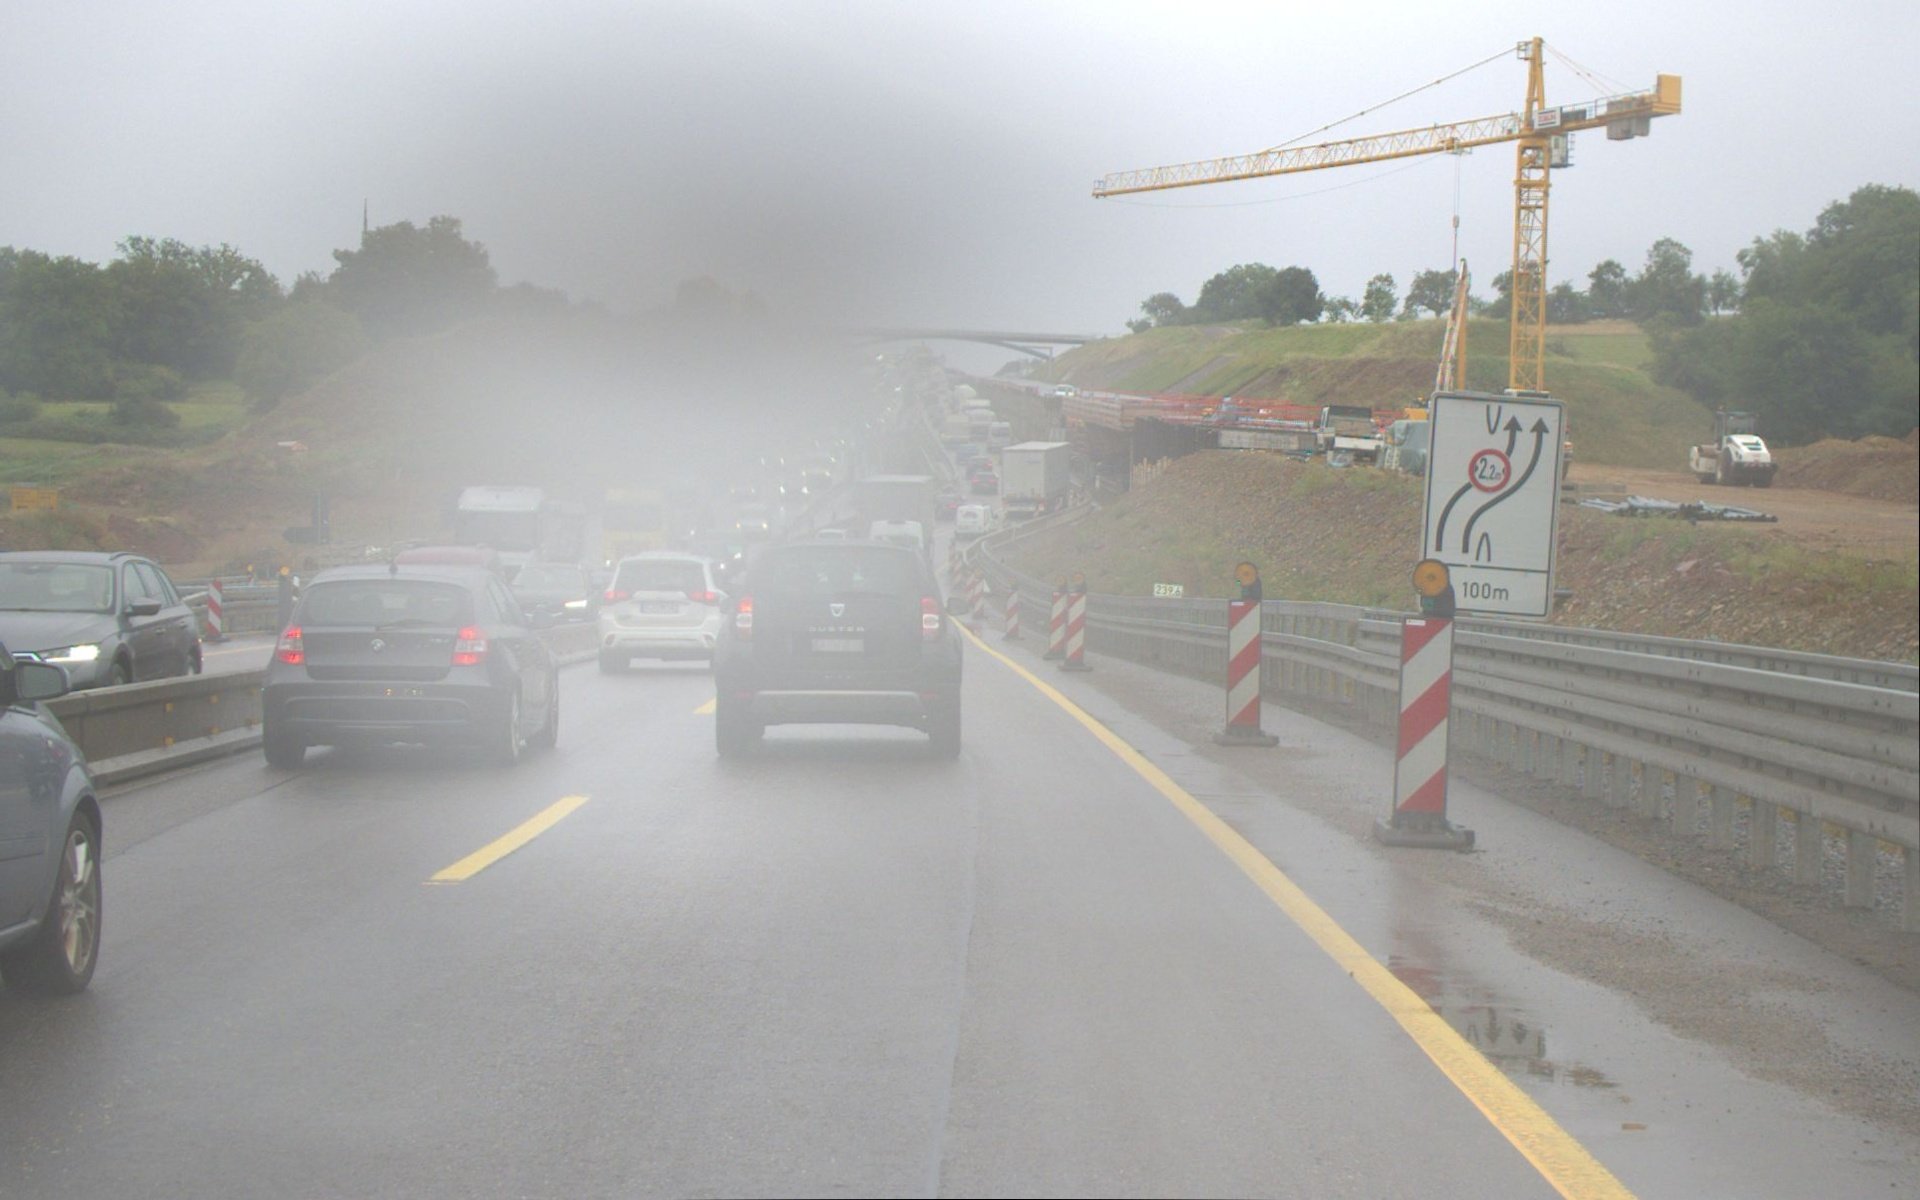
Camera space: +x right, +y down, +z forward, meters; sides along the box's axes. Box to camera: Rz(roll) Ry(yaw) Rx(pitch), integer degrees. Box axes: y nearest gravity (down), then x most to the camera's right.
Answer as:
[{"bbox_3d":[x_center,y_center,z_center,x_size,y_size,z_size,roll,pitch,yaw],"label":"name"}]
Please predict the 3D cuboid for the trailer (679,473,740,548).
[{"bbox_3d":[-12.900,-4.568,177.601,2.620,3.665,12.005,1,1,-2],"label":"trailer"}]

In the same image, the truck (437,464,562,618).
[{"bbox_3d":[-12.079,-1.530,90.532,2.686,3.913,5.274,0,1,-1],"label":"truck"}]

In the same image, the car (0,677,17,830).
[{"bbox_3d":[-10.457,1.589,33.005,1.820,1.491,4.001,0,2,-2],"label":"car"}]

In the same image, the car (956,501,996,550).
[{"bbox_3d":[0.830,-3.887,180.896,1.993,2.476,4.741,1,1,0],"label":"car"}]

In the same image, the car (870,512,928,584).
[{"bbox_3d":[-2.175,-1.857,123.370,1.993,2.476,4.982,1,1,-1],"label":"car"}]

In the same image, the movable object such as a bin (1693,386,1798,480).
[{"bbox_3d":[32.364,-6.856,141.807,2.340,3.587,6.562,1,1,-4],"label":"movable object such as a bin"}]

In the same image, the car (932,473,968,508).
[{"bbox_3d":[-0.590,-6.359,199.770,1.993,2.006,4.001,0,2,-1],"label":"car"}]

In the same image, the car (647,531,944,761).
[{"bbox_3d":[-1.187,0.304,26.398,2.081,1.595,4.141,1,1,-1],"label":"car"}]

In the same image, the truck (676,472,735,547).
[{"bbox_3d":[-12.690,-4.487,171.763,2.620,3.665,6.596,1,1,-2],"label":"truck"}]

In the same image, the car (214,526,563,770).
[{"bbox_3d":[-4.022,0.297,24.837,1.993,1.595,4.141,1,1,-3],"label":"car"}]

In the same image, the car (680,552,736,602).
[{"bbox_3d":[-9.362,-0.850,128.070,1.787,1.799,5.190,-1,0,-1],"label":"car"}]

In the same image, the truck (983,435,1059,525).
[{"bbox_3d":[3.549,-7.064,205.093,3.803,5.025,12.923,1,1,-2],"label":"truck"}]

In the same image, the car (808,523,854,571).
[{"bbox_3d":[-5.929,-2.443,158.883,1.993,2.155,4.141,1,1,-1],"label":"car"}]

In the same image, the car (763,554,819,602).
[{"bbox_3d":[-6.439,-0.860,131.261,1.993,1.753,4.688,1,1,-1],"label":"car"}]

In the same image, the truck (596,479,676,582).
[{"bbox_3d":[-13.085,-2.792,139.157,2.749,4.048,6.148,1,1,-1],"label":"truck"}]

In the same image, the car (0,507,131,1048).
[{"bbox_3d":[-3.810,0.515,9.639,1.993,1.595,4.141,1,1,-1],"label":"car"}]

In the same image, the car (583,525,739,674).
[{"bbox_3d":[-4.215,-0.028,49.047,1.993,2.007,3.894,1,1,-2],"label":"car"}]

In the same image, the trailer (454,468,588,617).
[{"bbox_3d":[-12.211,-1.580,96.344,2.686,3.950,9.820,0,1,-1],"label":"trailer"}]

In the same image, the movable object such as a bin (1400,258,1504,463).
[{"bbox_3d":[27.495,-13.210,191.770,4.721,10.805,10.297,1,0,13],"label":"movable object such as a bin"}]

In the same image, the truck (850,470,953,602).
[{"bbox_3d":[-2.419,-2.664,145.968,3.102,5.407,9.441,1,1,6],"label":"truck"}]

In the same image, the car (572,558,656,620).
[{"bbox_3d":[-8.415,-0.282,83.794,1.709,1.448,4.000,1,1,-1],"label":"car"}]

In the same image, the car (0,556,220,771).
[{"bbox_3d":[-7.226,0.444,26.881,1.907,1.444,4.411,-1,2,0],"label":"car"}]
